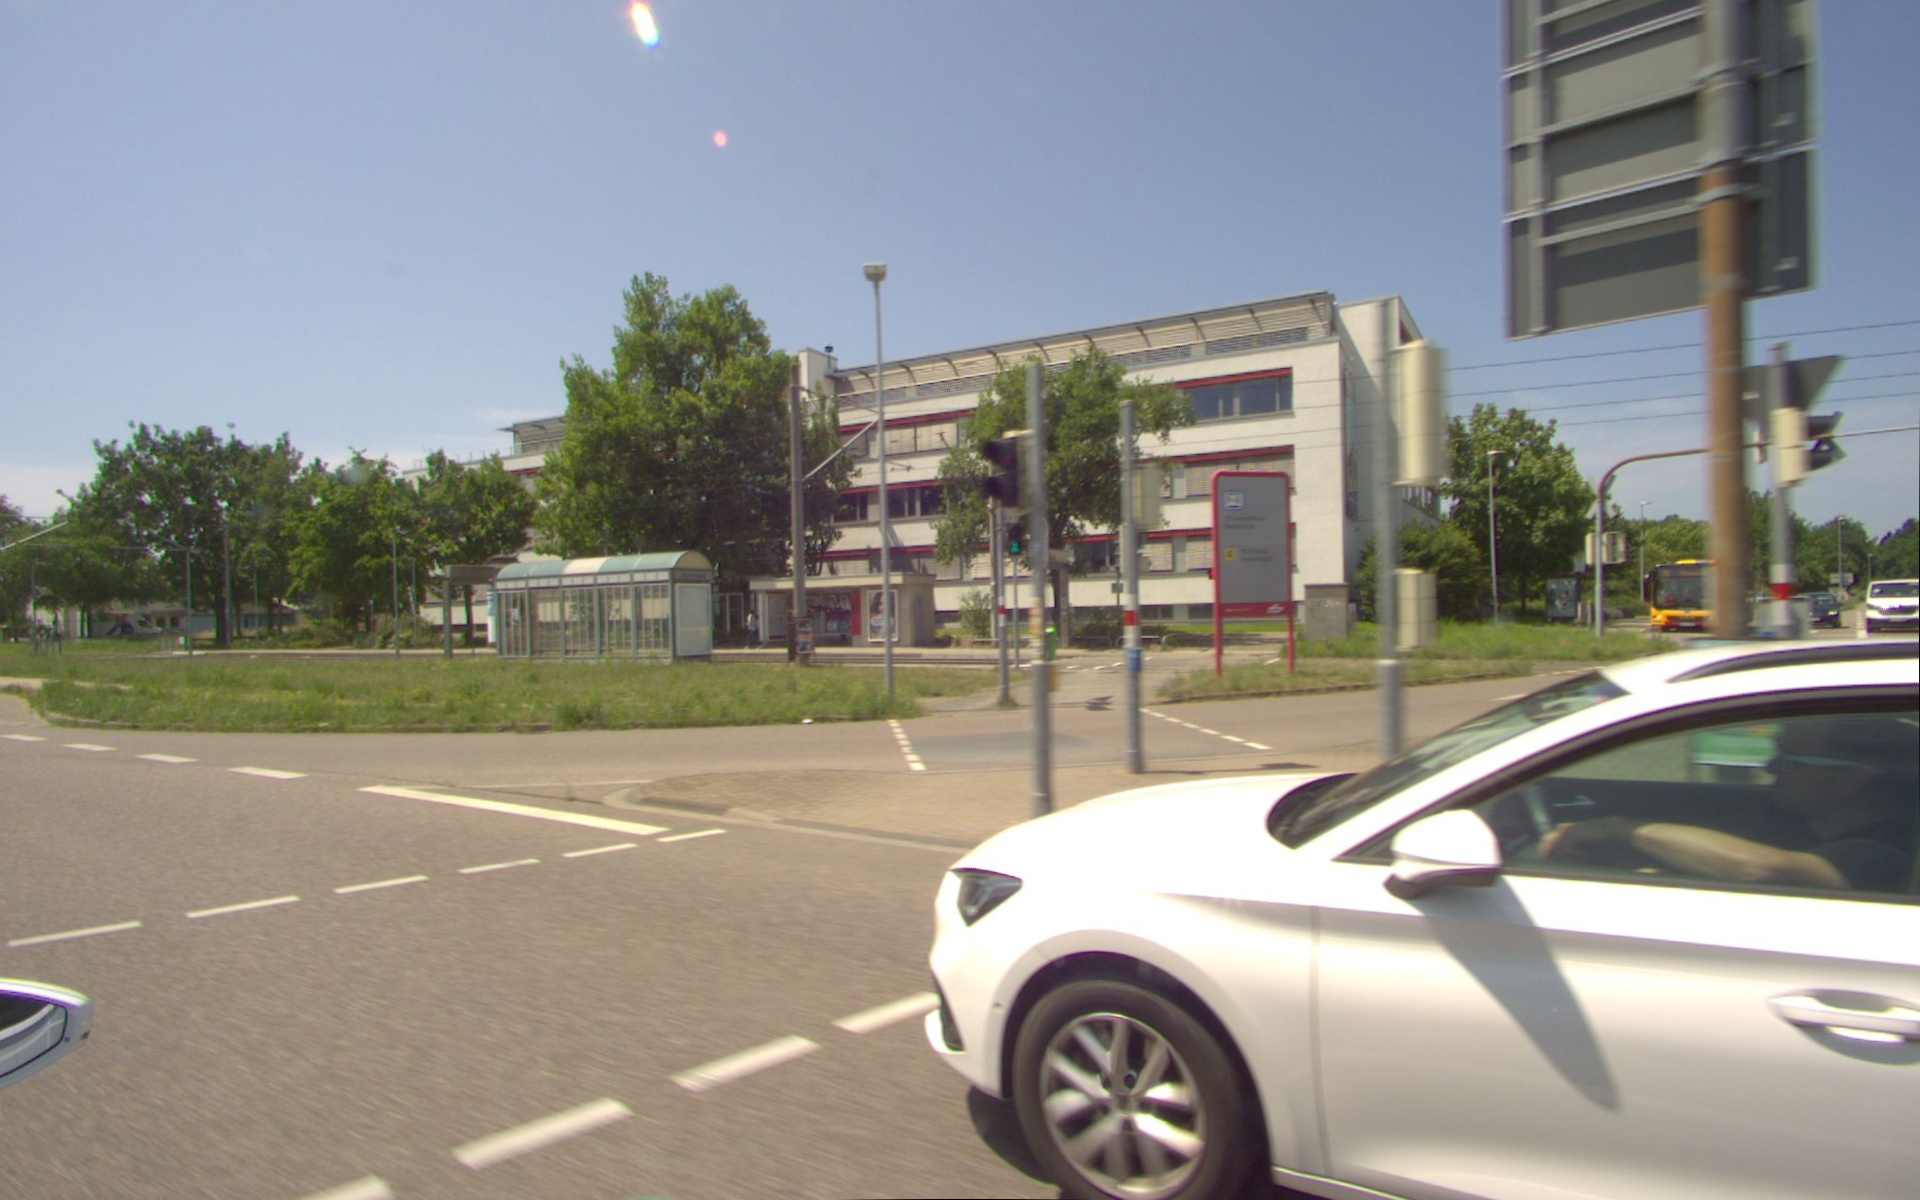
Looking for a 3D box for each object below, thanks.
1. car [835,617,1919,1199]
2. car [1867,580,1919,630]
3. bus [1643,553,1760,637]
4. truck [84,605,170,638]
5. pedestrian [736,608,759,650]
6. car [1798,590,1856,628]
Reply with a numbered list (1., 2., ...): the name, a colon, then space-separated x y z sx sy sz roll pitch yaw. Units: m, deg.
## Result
1. car: 1.944 0.756 2.400 4.387 1.408 1.679 -2 -1 32
2. car: 36.003 0.219 38.003 5.019 1.750 1.812 1 -3 -42
3. bus: 32.718 -0.118 43.912 2.810 3.159 11.974 -3 -2 43
4. truck: -79.687 2.032 95.885 2.284 2.881 5.836 -2 0 26
5. pedestrian: -8.304 1.142 39.198 0.681 1.628 0.550 -2 -2 35
6. car: 38.105 0.386 43.970 1.657 1.600 3.962 -1 -1 45
